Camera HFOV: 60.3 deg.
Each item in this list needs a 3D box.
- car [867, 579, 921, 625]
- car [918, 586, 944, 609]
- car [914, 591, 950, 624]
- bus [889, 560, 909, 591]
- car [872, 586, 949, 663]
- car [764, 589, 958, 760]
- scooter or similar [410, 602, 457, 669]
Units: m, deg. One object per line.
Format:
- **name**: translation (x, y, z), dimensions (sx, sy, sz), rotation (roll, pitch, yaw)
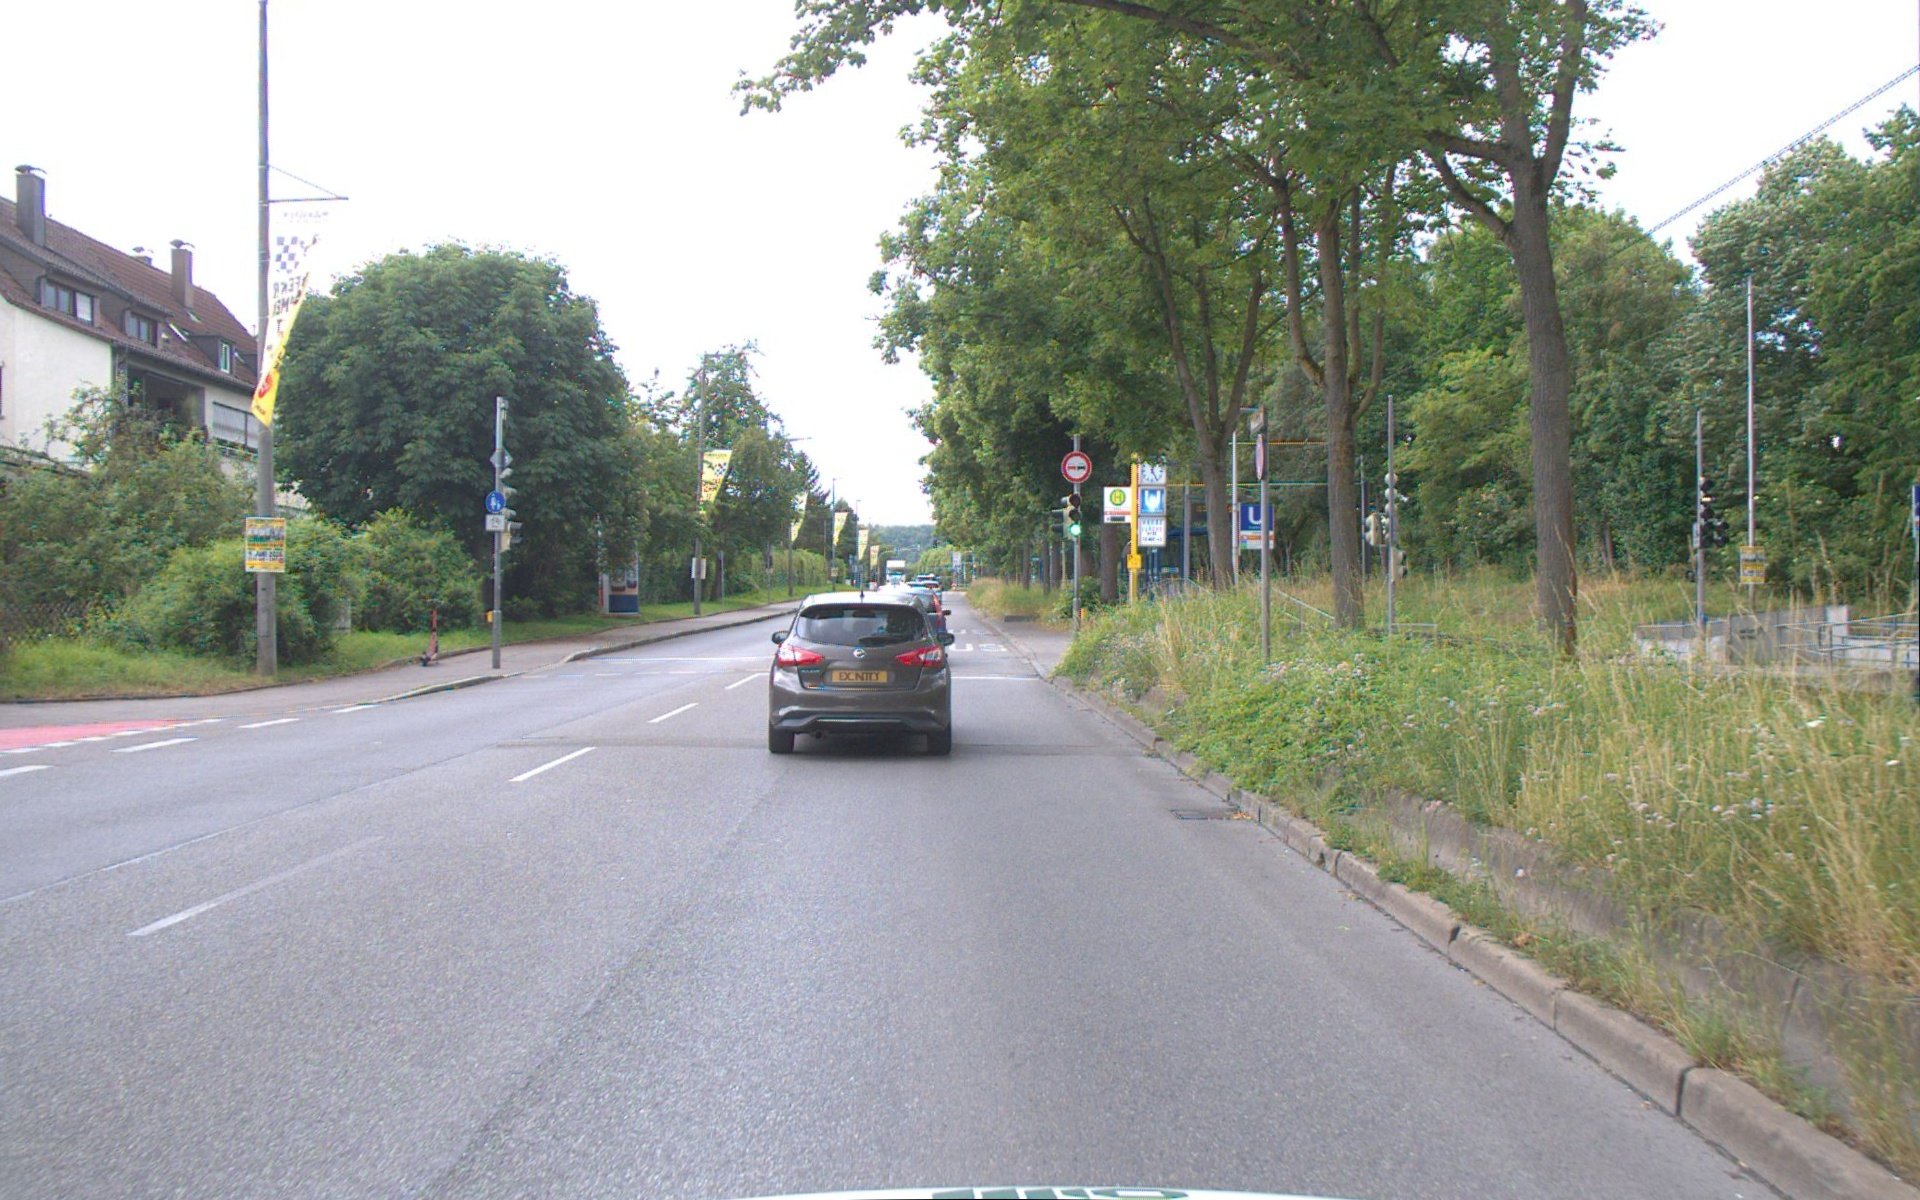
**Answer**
- **car**: translation (-2.125, 0.054, 53.729), dimensions (1.657, 1.466, 3.541), rotation (0, 0, -1)
- **car**: translation (-1.845, -0.144, 107.127), dimensions (1.657, 1.466, 3.541), rotation (0, 0, -1)
- **car**: translation (-1.300, 0.335, 77.619), dimensions (1.657, 1.466, 3.541), rotation (0, 0, -1)
- **bus**: translation (-8.172, -3.304, 222.080), dimensions (2.437, 4.096, 10.216), rotation (0, 0, -1)
- **car**: translation (-0.969, 0.457, 33.486), dimensions (1.471, 1.466, 3.541), rotation (0, 0, -1)
- **car**: translation (-0.898, 0.675, 16.765), dimensions (1.747, 1.533, 3.695), rotation (0, 0, 0)
- **scooter or similar**: translation (-10.278, 0.682, 32.332), dimensions (0.453, 1.281, 1.426), rotation (0, 0, 0)
